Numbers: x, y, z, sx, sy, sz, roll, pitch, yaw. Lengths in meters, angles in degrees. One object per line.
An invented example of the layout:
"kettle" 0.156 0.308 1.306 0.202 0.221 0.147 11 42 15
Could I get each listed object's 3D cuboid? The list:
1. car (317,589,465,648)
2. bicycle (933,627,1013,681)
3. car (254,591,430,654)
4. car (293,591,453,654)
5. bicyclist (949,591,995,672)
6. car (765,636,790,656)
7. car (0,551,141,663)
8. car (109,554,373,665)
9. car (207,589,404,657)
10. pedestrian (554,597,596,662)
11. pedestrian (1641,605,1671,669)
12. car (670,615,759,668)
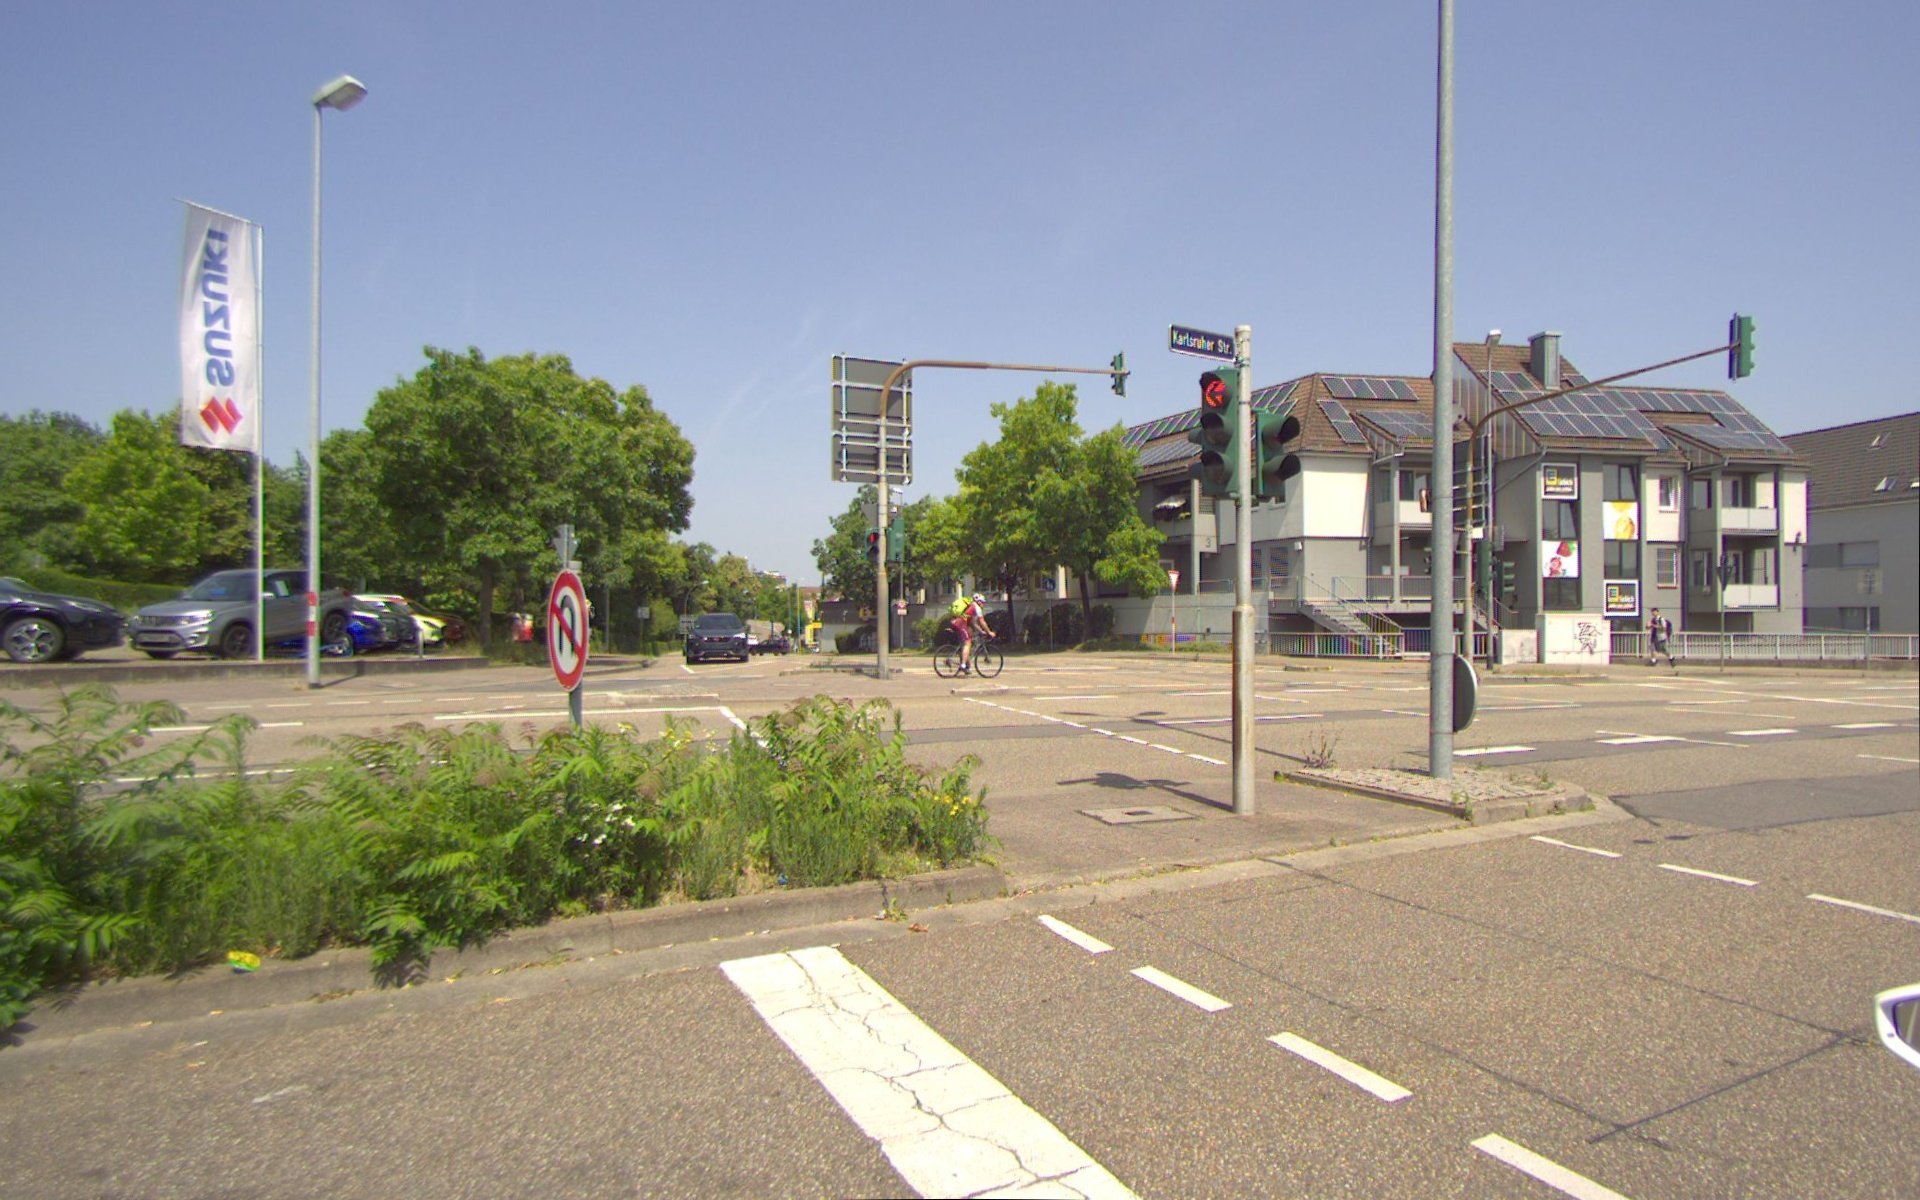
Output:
"car" -17.999 0.594 31.958 3.952 1.706 1.854 2 0 -29
"bicycle" 0.289 1.117 21.097 1.771 1.068 0.418 0 1 -34
"car" -16.752 0.656 27.451 3.953 1.591 1.827 2 -2 -30
"car" -17.274 0.669 29.759 3.952 1.730 1.893 2 0 -29
"bicyclist" 0.245 0.668 21.040 0.812 1.664 0.418 2 0 -34
"car" -18.826 4.713 103.315 1.969 1.927 3.984 1 -1 -18
"car" -16.068 0.075 16.303 3.968 1.746 1.831 3 -1 -31
"car" -14.207 0.251 20.223 1.792 1.926 4.313 2 -2 7
"car" -16.204 0.593 25.136 3.952 1.557 1.782 2 0 -29
"pedestrian" -11.714 0.892 30.539 0.972 1.896 0.807 2 0 -38
"pedestrian" 22.525 1.178 32.498 0.733 2.041 0.500 0 1 -28
"car" -7.667 1.270 31.085 1.976 1.505 4.416 0 -2 -24
